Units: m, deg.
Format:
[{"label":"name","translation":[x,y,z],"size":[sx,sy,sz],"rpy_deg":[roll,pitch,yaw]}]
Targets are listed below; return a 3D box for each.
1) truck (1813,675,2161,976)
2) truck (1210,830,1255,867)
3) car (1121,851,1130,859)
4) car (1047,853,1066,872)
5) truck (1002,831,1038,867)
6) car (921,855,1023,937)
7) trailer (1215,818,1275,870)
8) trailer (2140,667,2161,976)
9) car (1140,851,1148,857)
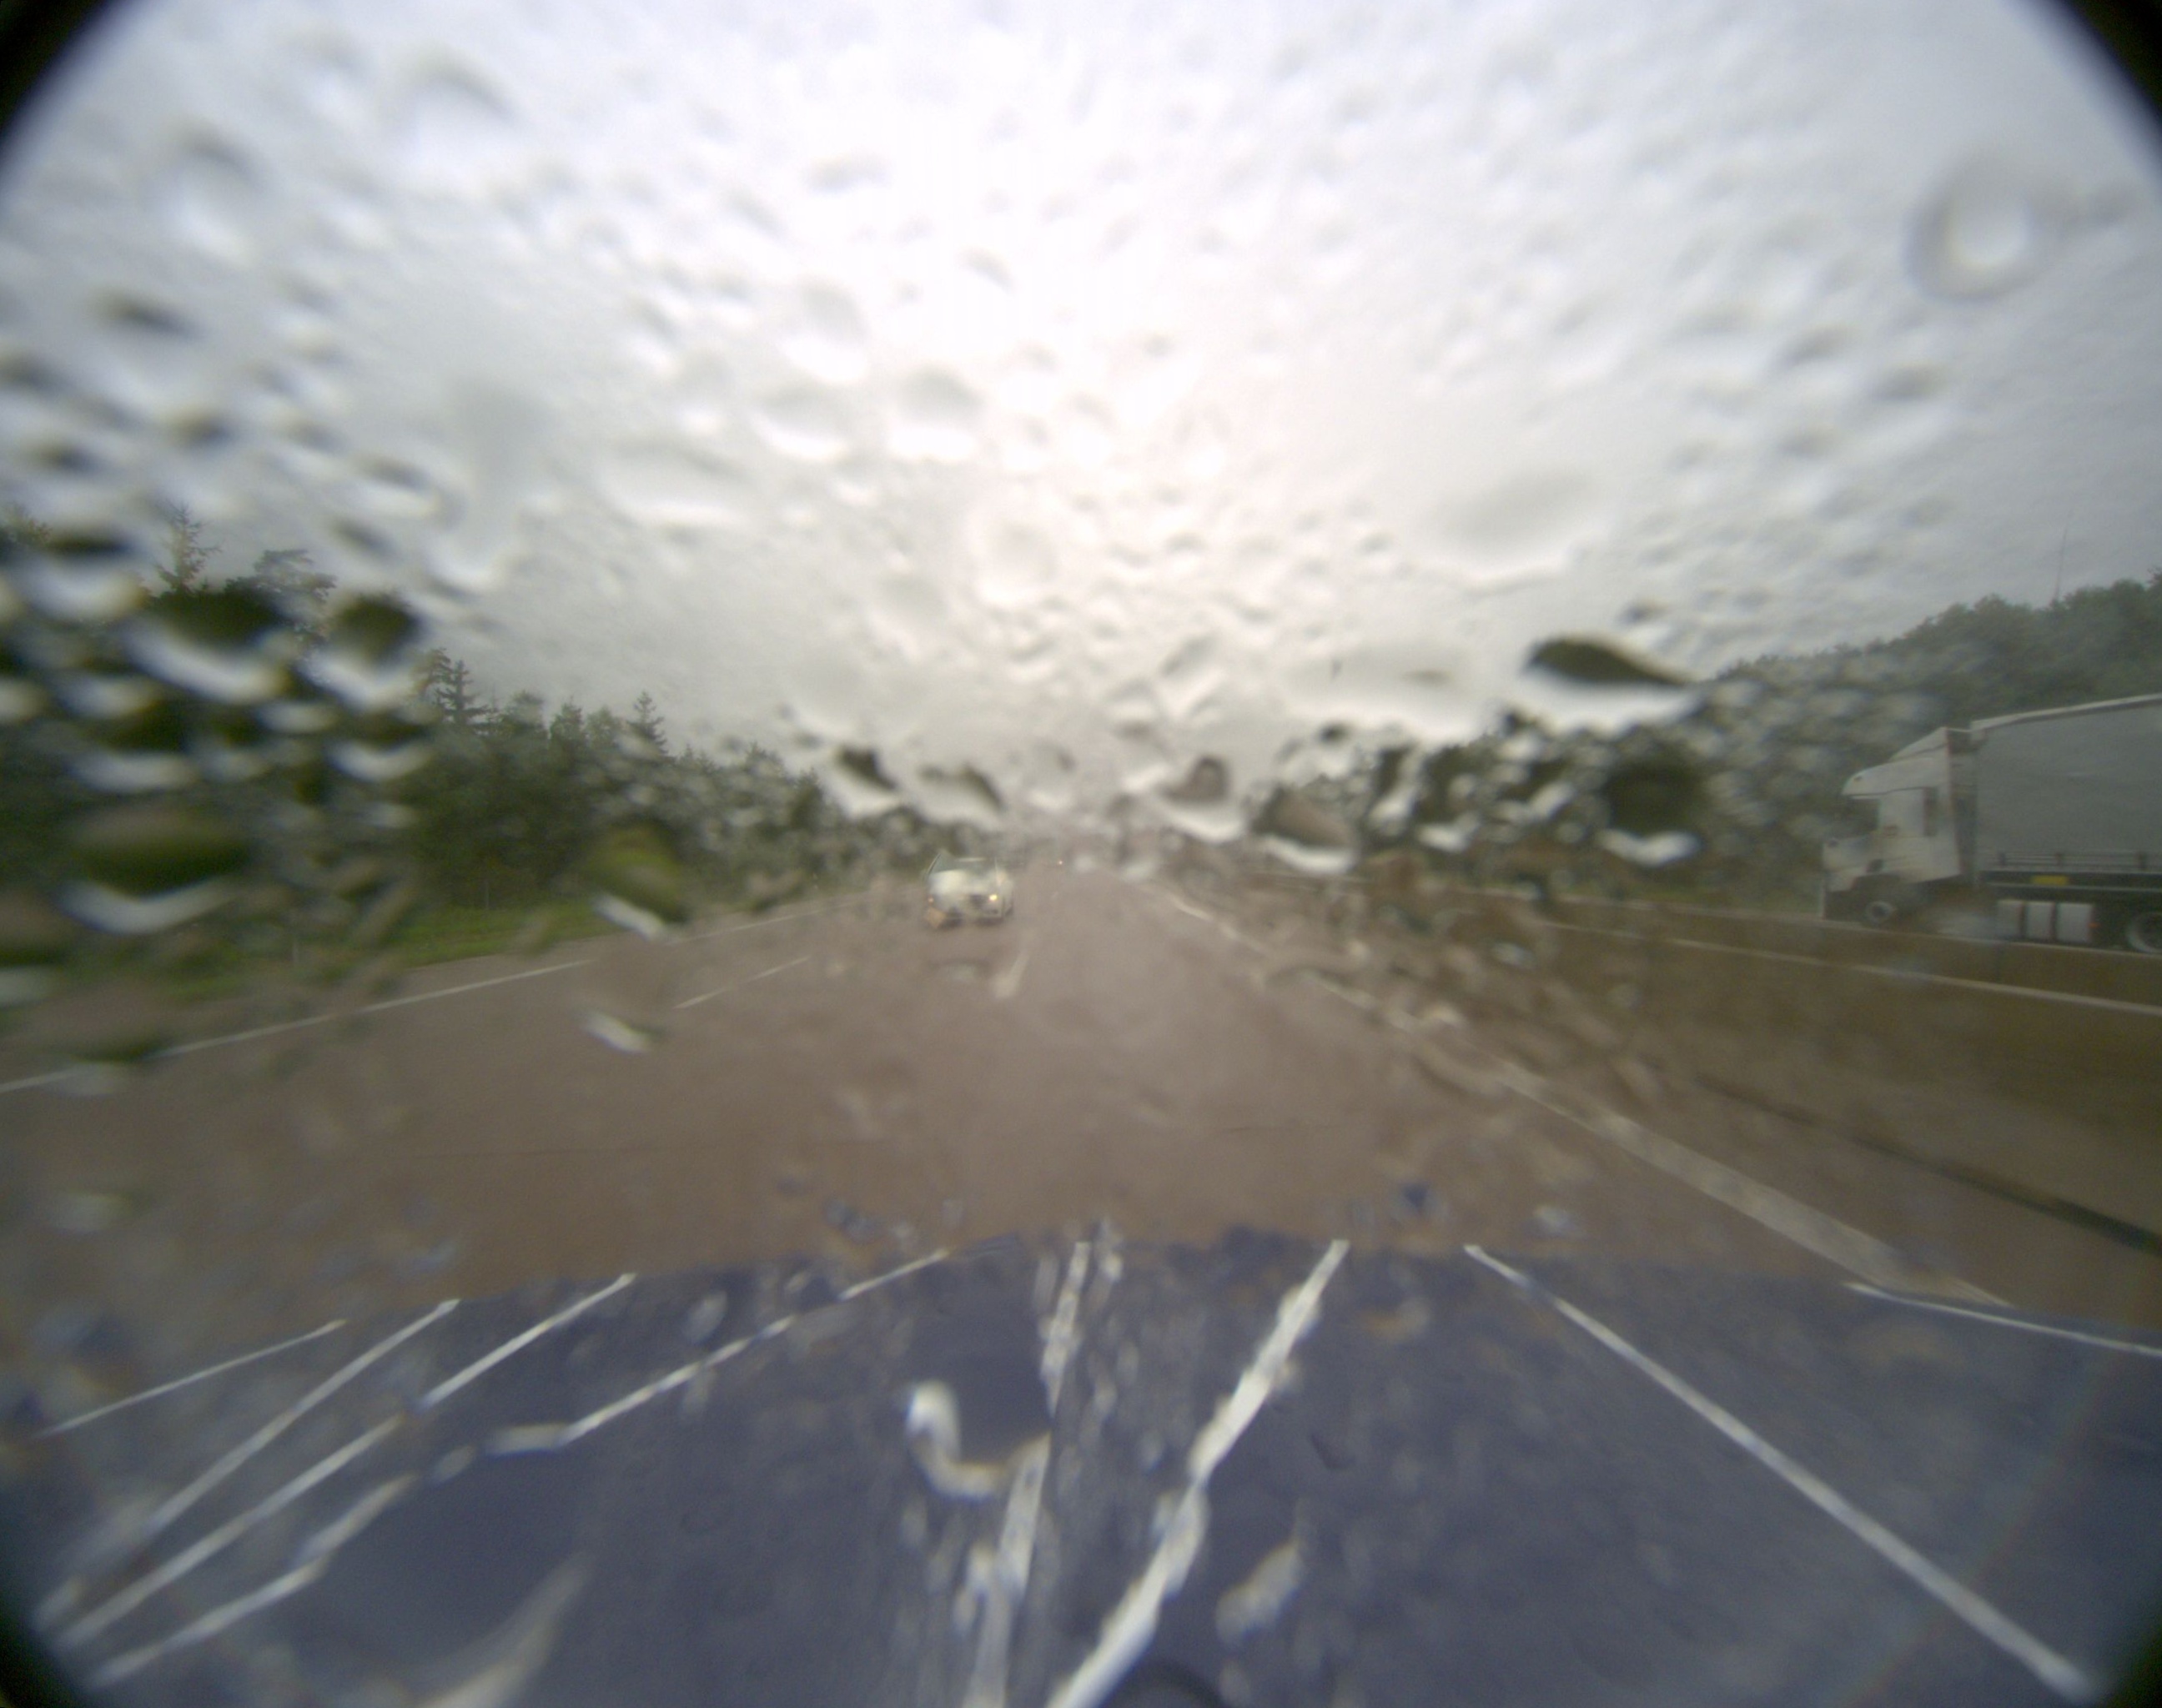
[{"label":"truck","translation":[17.229,-0.478,12.098],"size":[3.428,4.335,7.945],"rpy_deg":[-2,1,0]},{"label":"truck","translation":[17.068,-0.620,86.199],"size":[3.481,3.866,7.463],"rpy_deg":[-2,1,0]},{"label":"car","translation":[9.532,0.182,163.106],"size":[1.793,1.785,3.877],"rpy_deg":[0,0,1]},{"label":"car","translation":[-2.694,0.872,83.663],"size":[1.999,2.002,4.276],"rpy_deg":[0,1,-1]},{"label":"truck","translation":[-6.611,-0.520,83.601],"size":[3.242,3.708,7.954],"rpy_deg":[-2,0,0]},{"label":"car","translation":[-2.624,0.946,19.340],"size":[1.813,1.718,4.743],"rpy_deg":[-3,0,0]},{"label":"trailer","translation":[17.054,-1.046,80.093],"size":[3.439,4.839,12.443],"rpy_deg":[-2,1,0]},{"label":"trailer","translation":[17.248,-0.454,4.921],"size":[3.439,4.440,12.443],"rpy_deg":[-2,1,0]},{"label":"car","translation":[16.074,0.094,194.633],"size":[1.758,1.471,4.582],"rpy_deg":[-1,0,0]}]
